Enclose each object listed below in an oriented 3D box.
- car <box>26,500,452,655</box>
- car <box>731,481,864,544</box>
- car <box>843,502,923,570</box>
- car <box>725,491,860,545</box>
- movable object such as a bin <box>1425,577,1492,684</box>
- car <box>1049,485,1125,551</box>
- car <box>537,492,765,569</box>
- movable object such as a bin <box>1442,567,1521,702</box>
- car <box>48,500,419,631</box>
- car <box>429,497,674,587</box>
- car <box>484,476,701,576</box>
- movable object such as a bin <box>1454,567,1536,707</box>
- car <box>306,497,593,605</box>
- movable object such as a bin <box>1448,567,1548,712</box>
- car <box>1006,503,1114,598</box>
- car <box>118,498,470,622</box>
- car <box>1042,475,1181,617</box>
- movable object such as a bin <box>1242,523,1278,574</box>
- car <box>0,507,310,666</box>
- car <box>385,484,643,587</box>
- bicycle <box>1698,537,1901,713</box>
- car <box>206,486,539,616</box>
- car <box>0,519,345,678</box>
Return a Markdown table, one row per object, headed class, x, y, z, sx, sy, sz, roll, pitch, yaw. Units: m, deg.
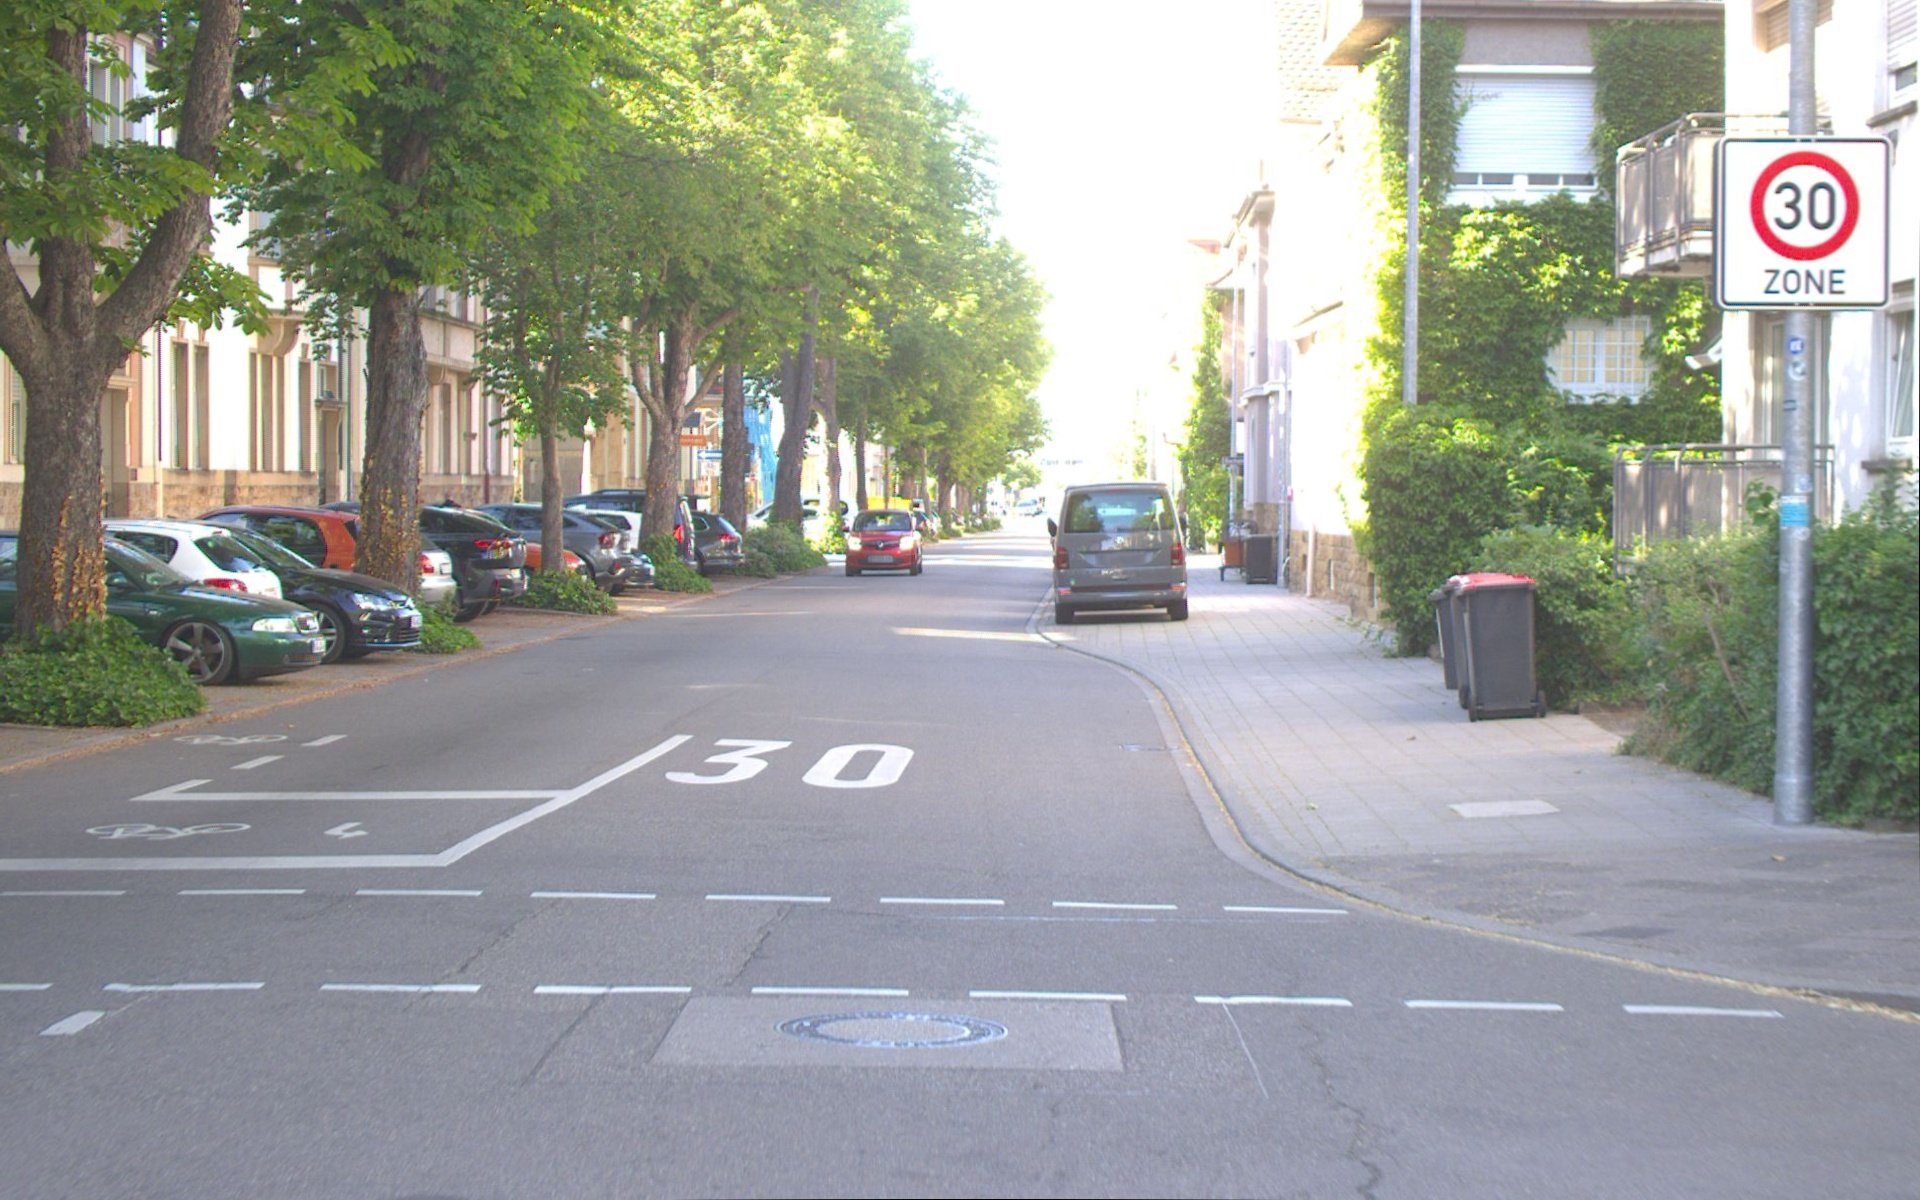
| class | x | y | z | sx | sy | sz | roll | pitch | yaw |
| --- | --- | --- | --- | --- | --- | --- | --- | --- | --- |
| car | -7.461 | -0.259 | 35.812 | 3.987 | 1.477 | 1.785 | 1 | 2 | 4 |
| car | -5.032 | -2.725 | 106.853 | 3.987 | 1.754 | 1.798 | 3 | 1 | -1 |
| car | -1.751 | -1.494 | 79.200 | 1.641 | 1.503 | 3.702 | -1 | 2 | 2 |
| car | -5.061 | -2.486 | 104.251 | 3.987 | 1.459 | 1.798 | 3 | 1 | -1 |
| movable object such as a bin | 4.462 | 0.272 | 30.796 | 0.503 | 0.912 | 0.573 | -3 | 2 | 4 |
| car | 3.105 | -2.037 | 84.766 | 1.699 | 1.534 | 4.156 | -2 | 2 | 1 |
| car | -6.420 | -1.449 | 71.659 | 4.532 | 1.498 | 1.892 | 1 | 1 | 1 |
| movable object such as a bin | 4.183 | 0.272 | 27.606 | 0.483 | 1.041 | 0.618 | -3 | 2 | 0 |
| car | -8.597 | -0.424 | 40.893 | 3.987 | 1.502 | 1.722 | 0 | 1 | 4 |
| car | -7.156 | -1.035 | 60.424 | 3.903 | 1.441 | 1.859 | 2 | 2 | 7 |
| car | -7.139 | -1.453 | 67.014 | 3.979 | 1.849 | 1.829 | 1 | 1 | 1 |
| movable object such as a bin | 4.173 | 0.284 | 26.824 | 0.483 | 1.041 | 0.657 | -3 | 2 | 0 |
| car | -7.658 | -0.742 | 51.795 | 3.987 | 1.509 | 1.747 | 1 | 1 | 2 |
| movable object such as a bin | 4.079 | 0.292 | 26.091 | 0.597 | 1.041 | 0.707 | -3 | 2 | 0 |
| car | 1.833 | -0.891 | 61.794 | 1.789 | 1.595 | 4.000 | -2 | 1 | 3 |
| car | -8.345 | -0.524 | 43.262 | 3.987 | 1.398 | 1.830 | 2 | 2 | 4 |
| car | 2.185 | -0.821 | 49.743 | 1.865 | 1.909 | 4.782 | 1 | 2 | 2 |
| movable object such as a bin | 6.126 | -1.057 | 70.260 | 0.647 | 1.036 | 0.828 | 0 | 2 | 0 |
| car | -8.232 | -0.151 | 33.369 | 3.434 | 1.447 | 1.703 | 1 | 1 | 4 |
| car | -7.404 | -1.091 | 57.335 | 3.987 | 1.587 | 1.859 | 2 | 2 | 2 |
| bicycle | 6.181 | 0.168 | 25.275 | 1.574 | 1.182 | 0.644 | -4 | 3 | -42 |
| car | -7.722 | -0.657 | 45.396 | 3.987 | 1.561 | 1.863 | 2 | 2 | 4 |
| car | -7.845 | -0.046 | 31.101 | 4.212 | 1.344 | 1.703 | 1 | 1 | 2 |
